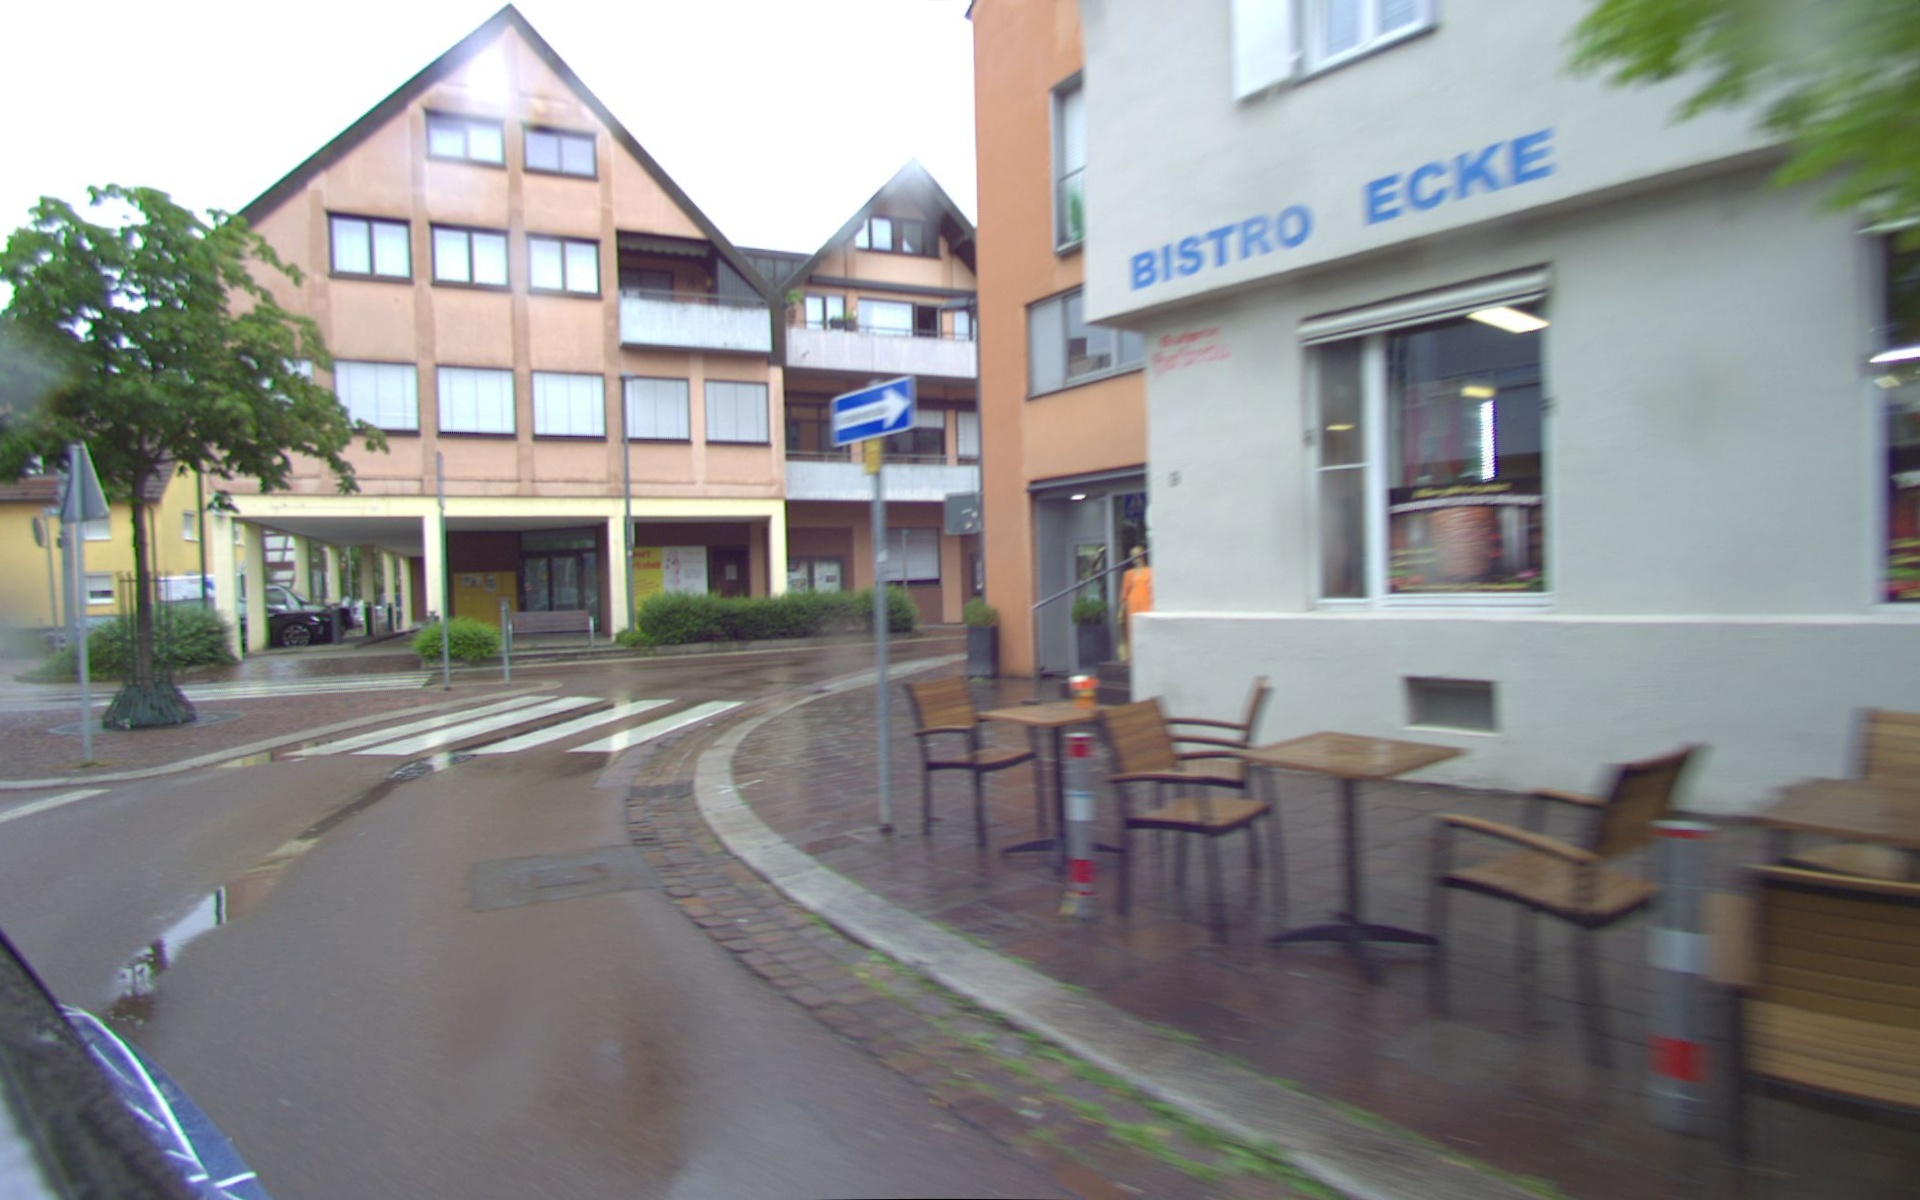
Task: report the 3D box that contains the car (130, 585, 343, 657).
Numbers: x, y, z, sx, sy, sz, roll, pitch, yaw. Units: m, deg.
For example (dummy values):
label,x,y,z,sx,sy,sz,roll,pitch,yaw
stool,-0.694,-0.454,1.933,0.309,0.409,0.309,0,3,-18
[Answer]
label,x,y,z,sx,sy,sz,roll,pitch,yaw
car,-17.671,0.465,24.960,3.931,1.519,1.842,-2,2,-23

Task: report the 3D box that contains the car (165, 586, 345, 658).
label,x,y,z,sx,sy,sz,roll,pitch,yaw
car,-20.571,0.627,29.743,3.932,1.683,1.842,-5,1,-23

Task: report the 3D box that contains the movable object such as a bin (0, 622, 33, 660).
label,x,y,z,sx,sy,sz,roll,pitch,yaw
movable object such as a bin,-31.548,1.366,33.809,0.621,1.242,0.525,-1,2,-12

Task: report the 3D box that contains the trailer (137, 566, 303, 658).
label,x,y,z,sx,sy,sz,roll,pitch,yaw
trailer,-19.462,0.298,26.774,3.040,2.103,1.842,-5,1,-23

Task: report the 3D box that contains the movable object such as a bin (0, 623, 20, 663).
label,x,y,z,sx,sy,sz,roll,pitch,yaw
movable object such as a bin,-31.384,1.411,33.188,0.621,1.242,0.525,-1,2,-12

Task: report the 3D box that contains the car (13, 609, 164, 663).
label,x,y,z,sx,sy,sz,roll,pitch,yaw
car,-30.107,1.186,35.173,1.967,1.519,4.555,-1,2,-11
